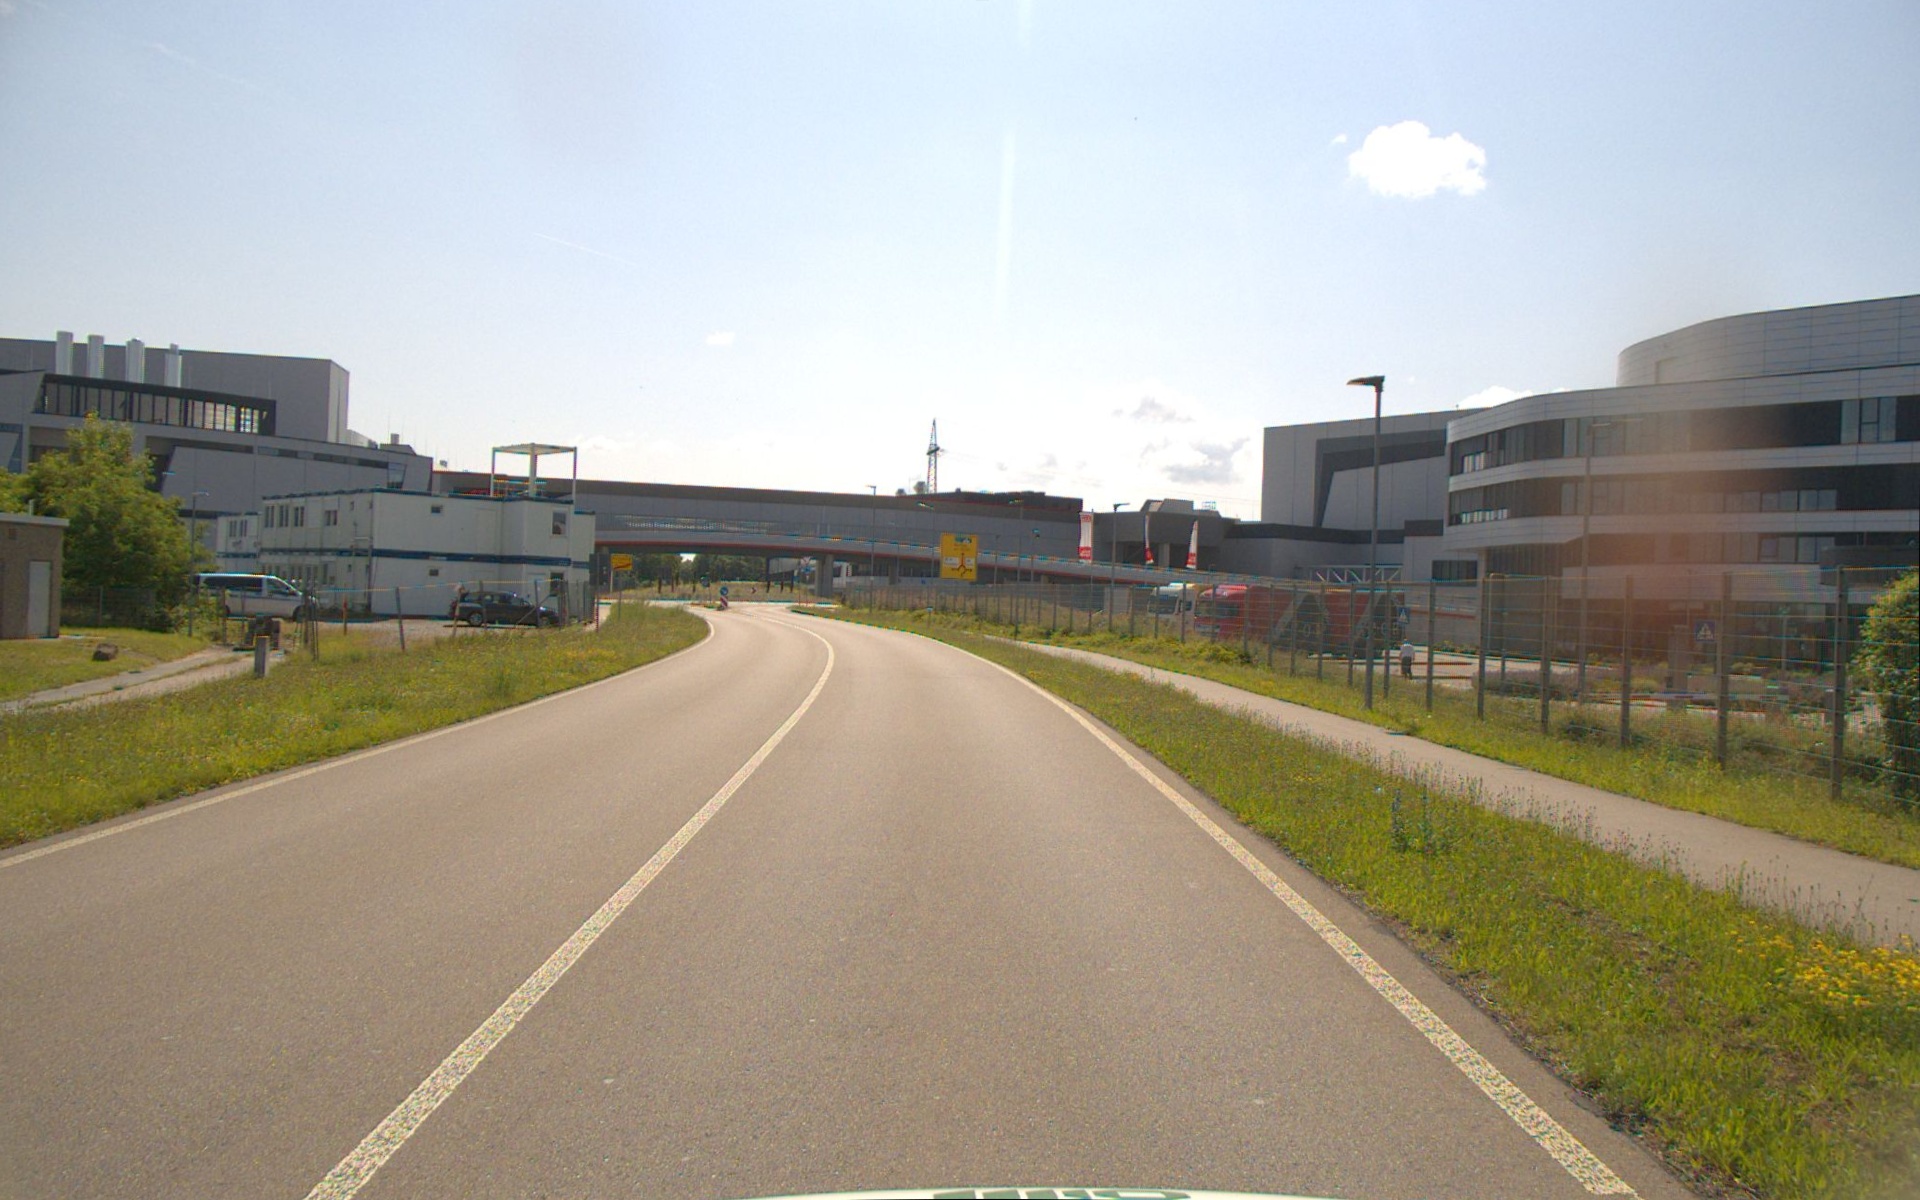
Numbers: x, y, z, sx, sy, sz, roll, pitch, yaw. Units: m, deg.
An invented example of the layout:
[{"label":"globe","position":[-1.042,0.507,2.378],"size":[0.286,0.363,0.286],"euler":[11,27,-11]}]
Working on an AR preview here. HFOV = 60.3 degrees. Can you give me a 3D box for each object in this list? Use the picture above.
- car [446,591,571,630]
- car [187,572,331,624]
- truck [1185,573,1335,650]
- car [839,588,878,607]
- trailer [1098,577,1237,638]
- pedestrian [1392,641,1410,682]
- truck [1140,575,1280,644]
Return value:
[{"label":"car","position":[-18.868,0.423,69.139],"size":[4.896,1.441,1.988],"euler":[2,1,-21]},{"label":"car","position":[-28.363,-0.079,66.999],"size":[4.974,1.899,1.971],"euler":[2,0,-40]},{"label":"truck","position":[17.775,0.688,97.354],"size":[10.889,4.331,2.980],"euler":[1,0,-44]},{"label":"car","position":[-8.650,-0.186,141.275],"size":[1.952,1.571,4.001],"euler":[1,0,20]},{"label":"trailer","position":[16.355,0.615,129.009],"size":[13.957,4.515,2.721],"euler":[1,0,-45]},{"label":"pedestrian","position":[18.557,2.572,69.582],"size":[0.474,1.682,0.573],"euler":[2,0,-7]},{"label":"truck","position":[16.193,0.651,106.353],"size":[10.886,4.245,2.778],"euler":[1,0,-44]}]
